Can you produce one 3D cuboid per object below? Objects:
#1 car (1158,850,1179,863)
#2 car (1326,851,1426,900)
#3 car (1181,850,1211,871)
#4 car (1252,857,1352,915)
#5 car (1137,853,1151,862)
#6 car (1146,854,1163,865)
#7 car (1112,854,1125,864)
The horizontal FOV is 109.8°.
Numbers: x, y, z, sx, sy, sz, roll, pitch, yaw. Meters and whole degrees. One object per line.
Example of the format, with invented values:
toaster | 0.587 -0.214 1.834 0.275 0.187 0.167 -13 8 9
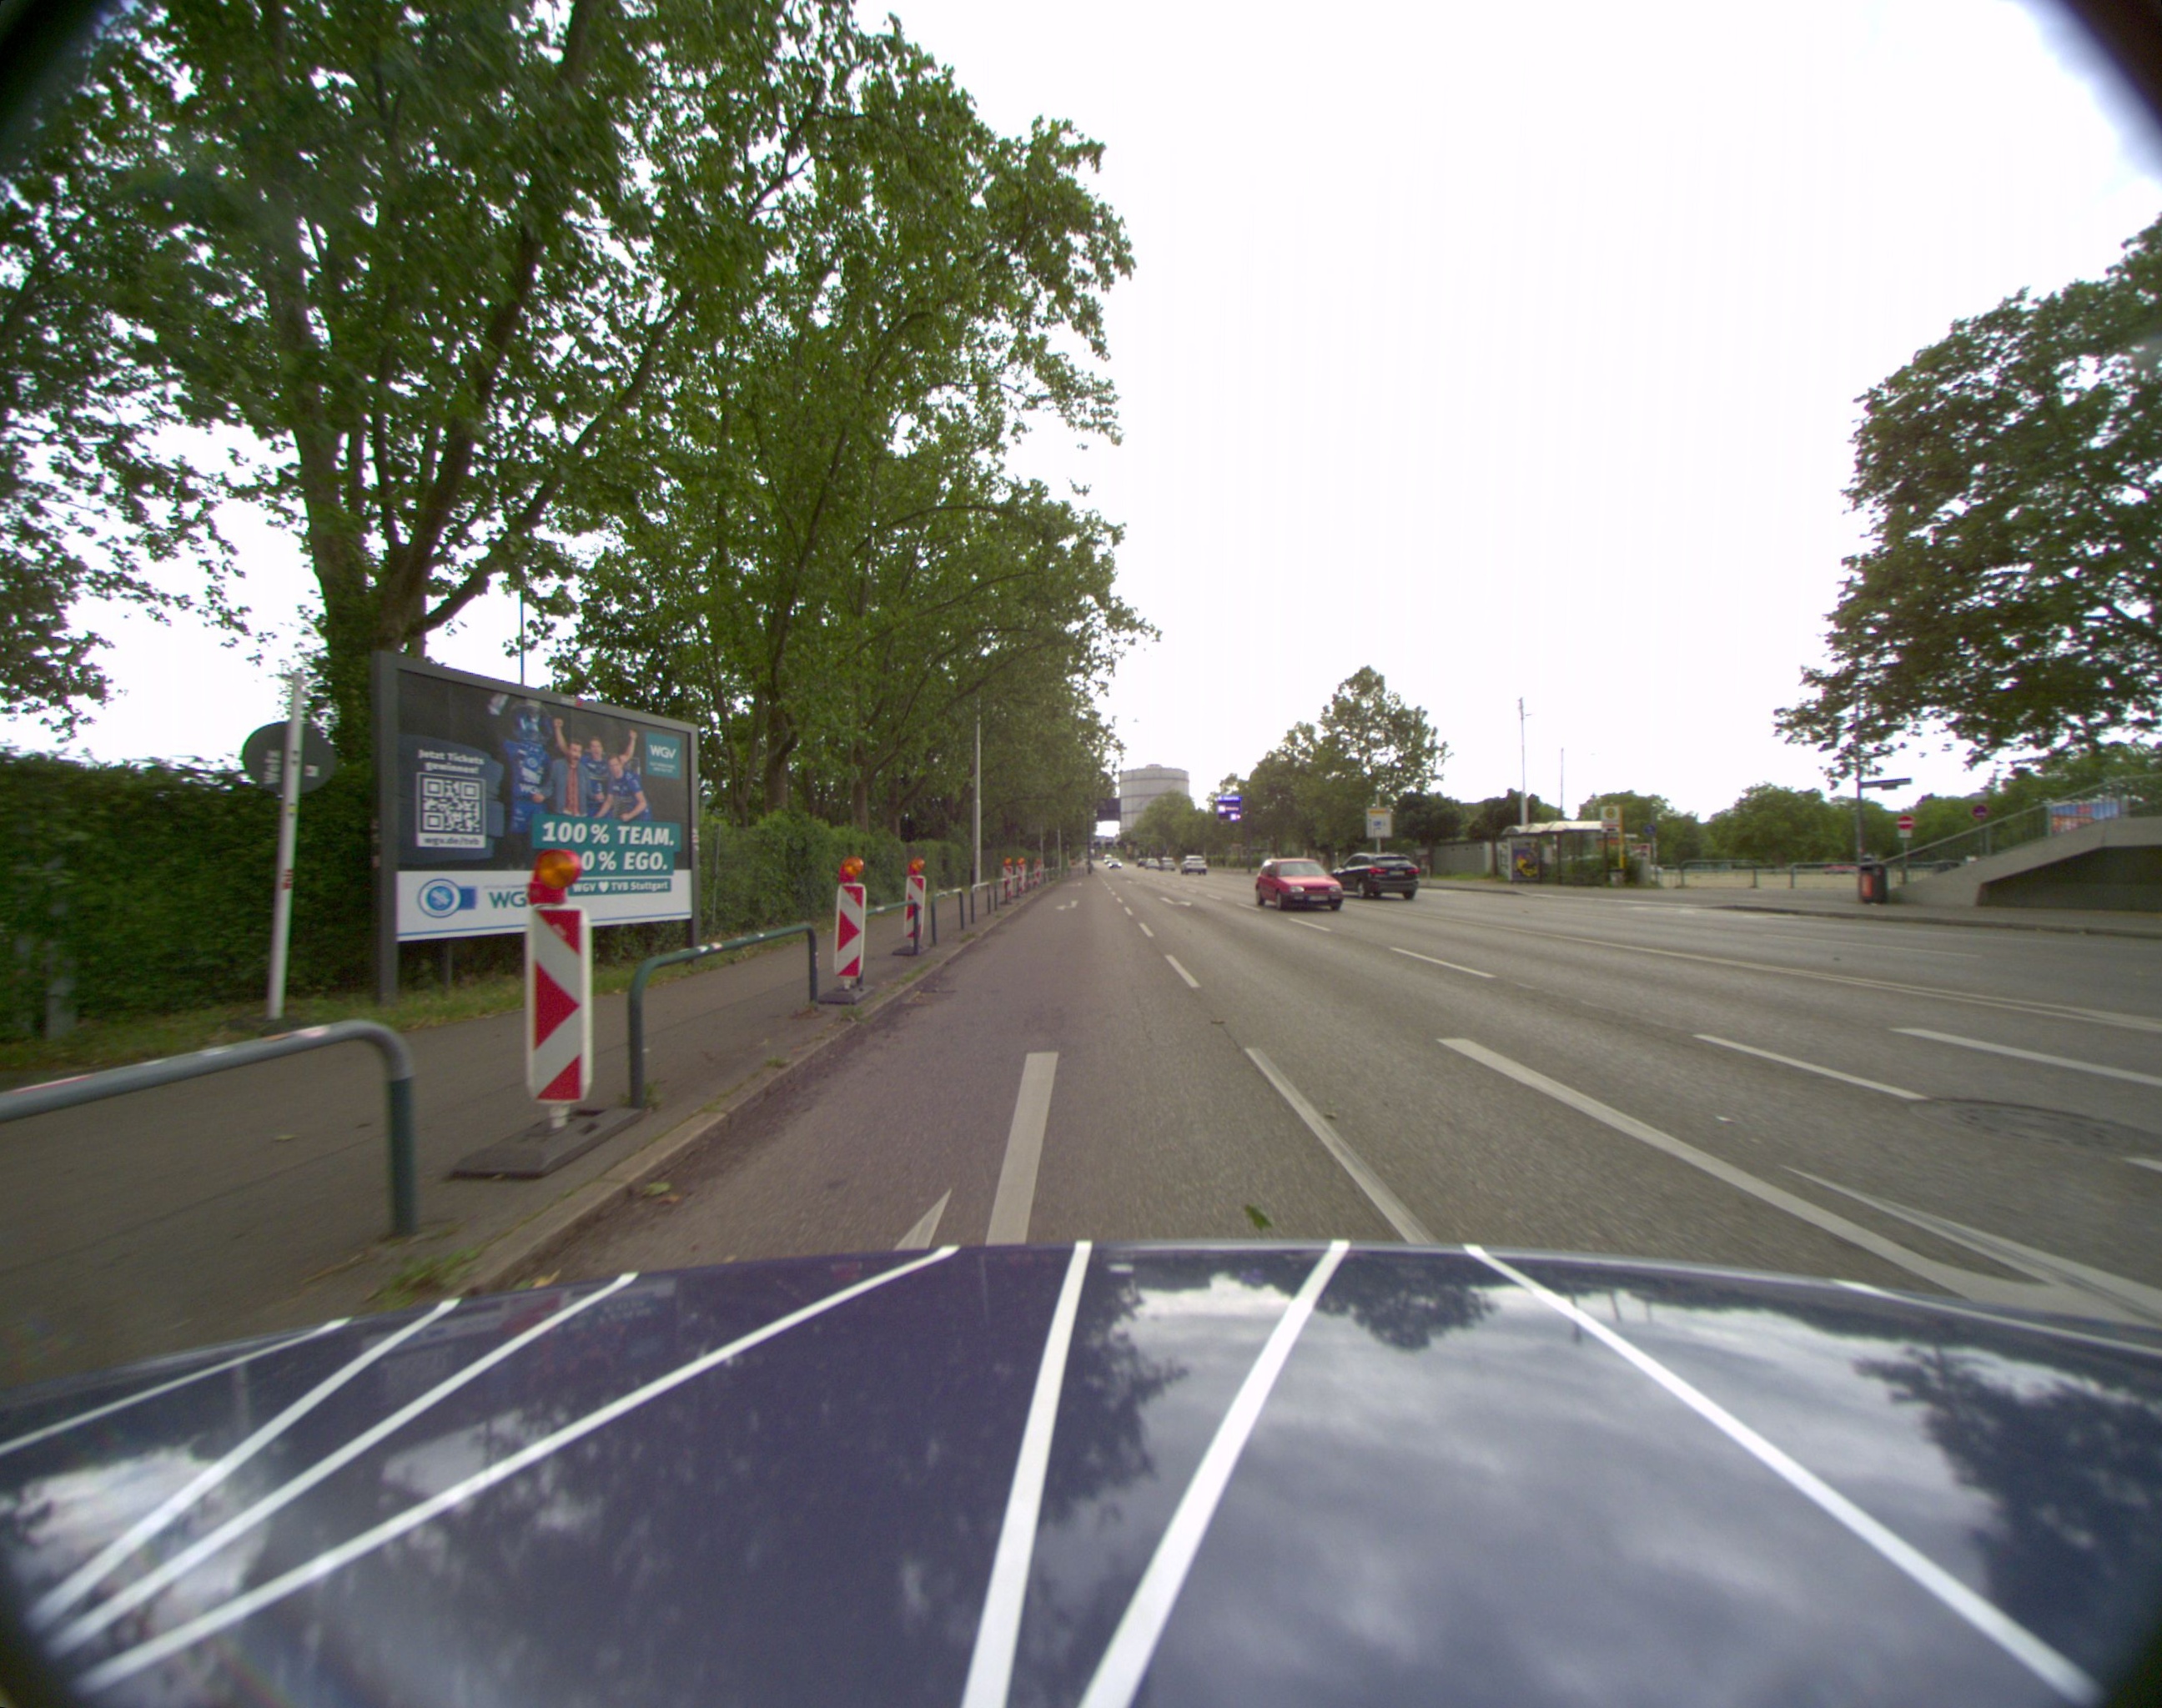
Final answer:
car | 10.545 0.308 91.537 1.999 1.516 3.999 0 0 -1
car | 10.393 0.718 27.142 1.774 1.596 4.427 0 0 -2
car | 10.319 0.571 68.502 1.999 1.734 4.595 -1 0 0
car | 6.185 0.845 21.692 1.833 1.443 4.077 -2 0 3
car | 11.150 0.665 134.680 1.999 1.521 4.725 0 0 -1
car | 10.489 0.737 108.335 1.998 1.521 4.385 -1 0 0
car | 5.750 0.704 116.531 1.799 1.501 4.000 -1 0 1
